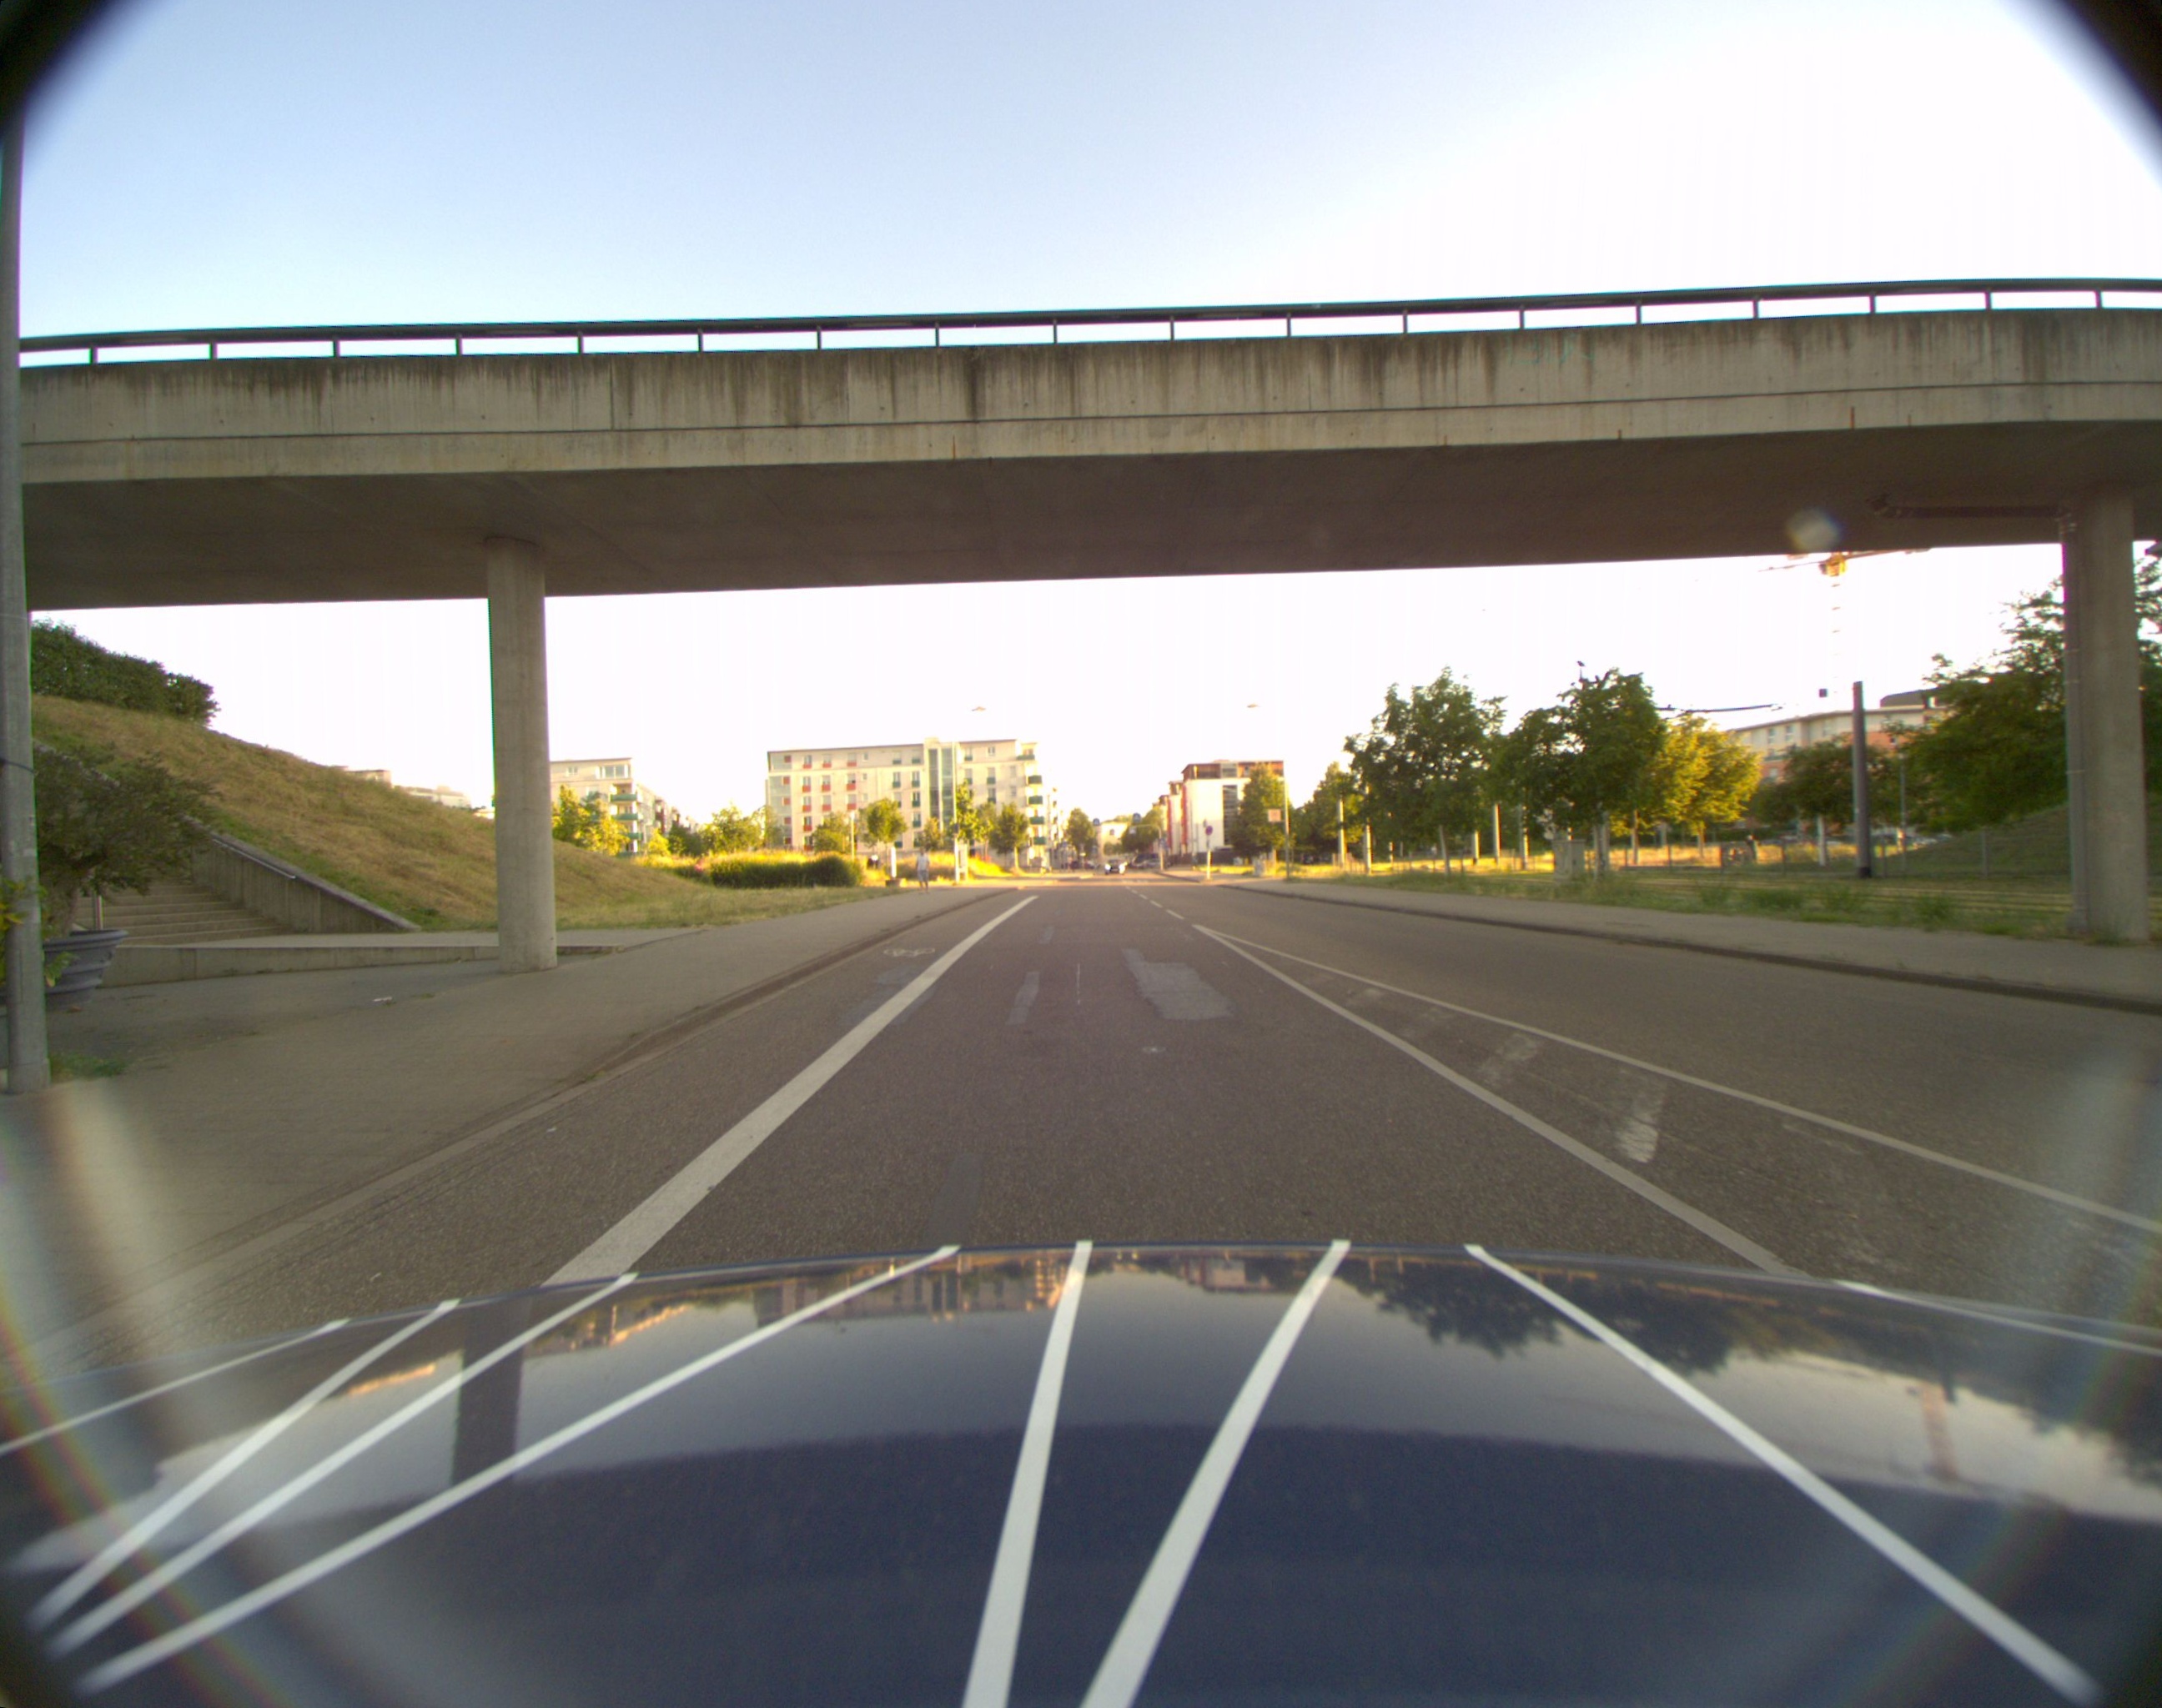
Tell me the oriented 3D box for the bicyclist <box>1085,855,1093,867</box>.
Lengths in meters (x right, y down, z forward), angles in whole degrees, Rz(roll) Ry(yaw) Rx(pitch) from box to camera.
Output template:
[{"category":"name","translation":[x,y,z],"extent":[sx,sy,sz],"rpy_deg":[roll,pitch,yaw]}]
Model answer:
[{"category":"bicyclist","translation":[1.101,0.918,102.321],"extent":[0.696,1.630,0.853],"rpy_deg":[-2,0,32]}]

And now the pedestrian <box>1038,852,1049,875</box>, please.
[{"category":"pedestrian","translation":[-2.782,0.699,56.356],"extent":[0.737,1.714,0.532],"rpy_deg":[0,0,1]}]

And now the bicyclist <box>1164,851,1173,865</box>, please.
[{"category":"bicyclist","translation":[10.119,0.454,87.740],"extent":[0.858,1.653,0.919],"rpy_deg":[-2,0,-7]}]

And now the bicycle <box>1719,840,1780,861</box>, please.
[{"category":"bicycle","translation":[36.683,-0.189,41.708],"extent":[2.842,1.002,0.655],"rpy_deg":[-2,0,-3]}]

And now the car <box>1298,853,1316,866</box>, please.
[{"category":"car","translation":[28.869,0.696,97.128],"extent":[1.942,1.521,4.004],"rpy_deg":[-2,0,14]}]

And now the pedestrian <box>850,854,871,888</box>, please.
[{"category":"pedestrian","translation":[-10.875,0.830,37.476],"extent":[0.737,1.620,0.859],"rpy_deg":[0,0,2]}]

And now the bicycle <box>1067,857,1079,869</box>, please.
[{"category":"bicycle","translation":[-0.821,0.889,74.148],"extent":[0.900,1.142,3.497],"rpy_deg":[-2,0,-4]}]

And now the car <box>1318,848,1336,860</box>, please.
[{"category":"car","translation":[31.244,-0.008,96.618],"extent":[1.942,1.521,4.004],"rpy_deg":[-2,0,14]}]

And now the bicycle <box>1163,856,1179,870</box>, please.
[{"category":"bicycle","translation":[10.302,1.071,87.419],"extent":[1.018,1.560,3.541],"rpy_deg":[-2,0,-6]}]

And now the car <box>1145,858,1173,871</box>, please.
[{"category":"car","translation":[11.665,1.607,113.951],"extent":[3.996,1.718,2.000],"rpy_deg":[-2,0,2]}]

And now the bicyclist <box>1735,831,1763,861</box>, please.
[{"category":"bicyclist","translation":[36.731,-0.423,41.781],"extent":[0.909,1.622,0.717],"rpy_deg":[-2,0,-2]}]

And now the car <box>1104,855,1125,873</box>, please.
[{"category":"car","translation":[2.915,0.860,66.766],"extent":[1.739,1.455,4.000],"rpy_deg":[-2,0,1]}]

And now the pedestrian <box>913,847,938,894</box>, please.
[{"category":"pedestrian","translation":[-5.878,0.616,28.670],"extent":[0.737,1.714,0.906],"rpy_deg":[0,0,1]}]

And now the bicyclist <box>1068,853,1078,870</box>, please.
[{"category":"bicyclist","translation":[-0.791,0.718,73.416],"extent":[0.932,1.585,1.068],"rpy_deg":[-2,0,0]}]

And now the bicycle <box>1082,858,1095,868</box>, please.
[{"category":"bicycle","translation":[0.992,1.234,102.059],"extent":[0.661,1.217,2.444],"rpy_deg":[-2,0,29]}]
